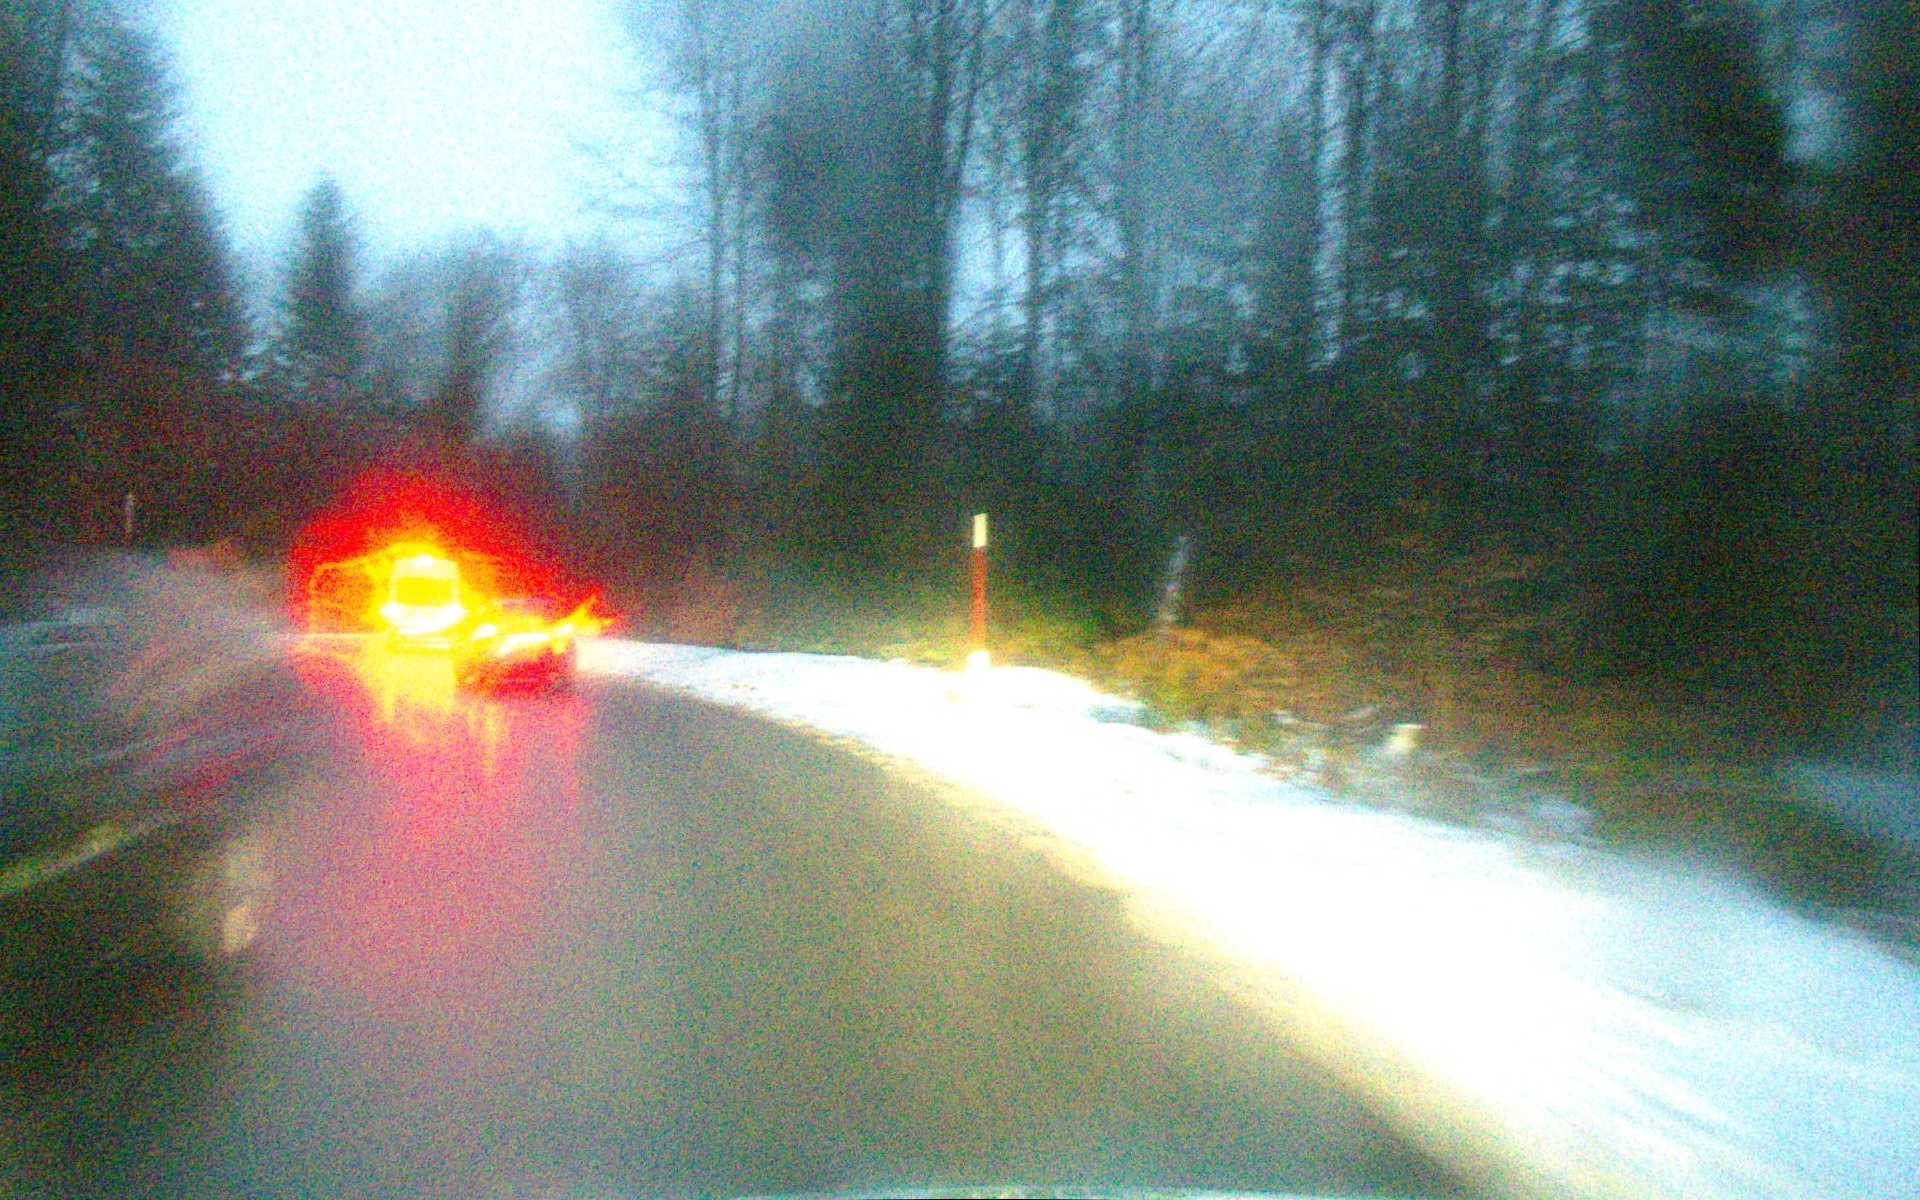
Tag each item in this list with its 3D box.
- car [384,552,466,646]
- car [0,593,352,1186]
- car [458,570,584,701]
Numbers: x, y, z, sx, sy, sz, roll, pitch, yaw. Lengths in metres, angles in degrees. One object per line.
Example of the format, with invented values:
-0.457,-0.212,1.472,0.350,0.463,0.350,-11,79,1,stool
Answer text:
-16.172,0.001,49.916,2.218,2.692,4.978,-1,-1,-19,car
-3.463,0.760,5.290,1.740,1.518,4.543,-1,0,-6,car
-7.628,0.603,28.952,1.960,2.088,3.985,-1,-1,-14,car
